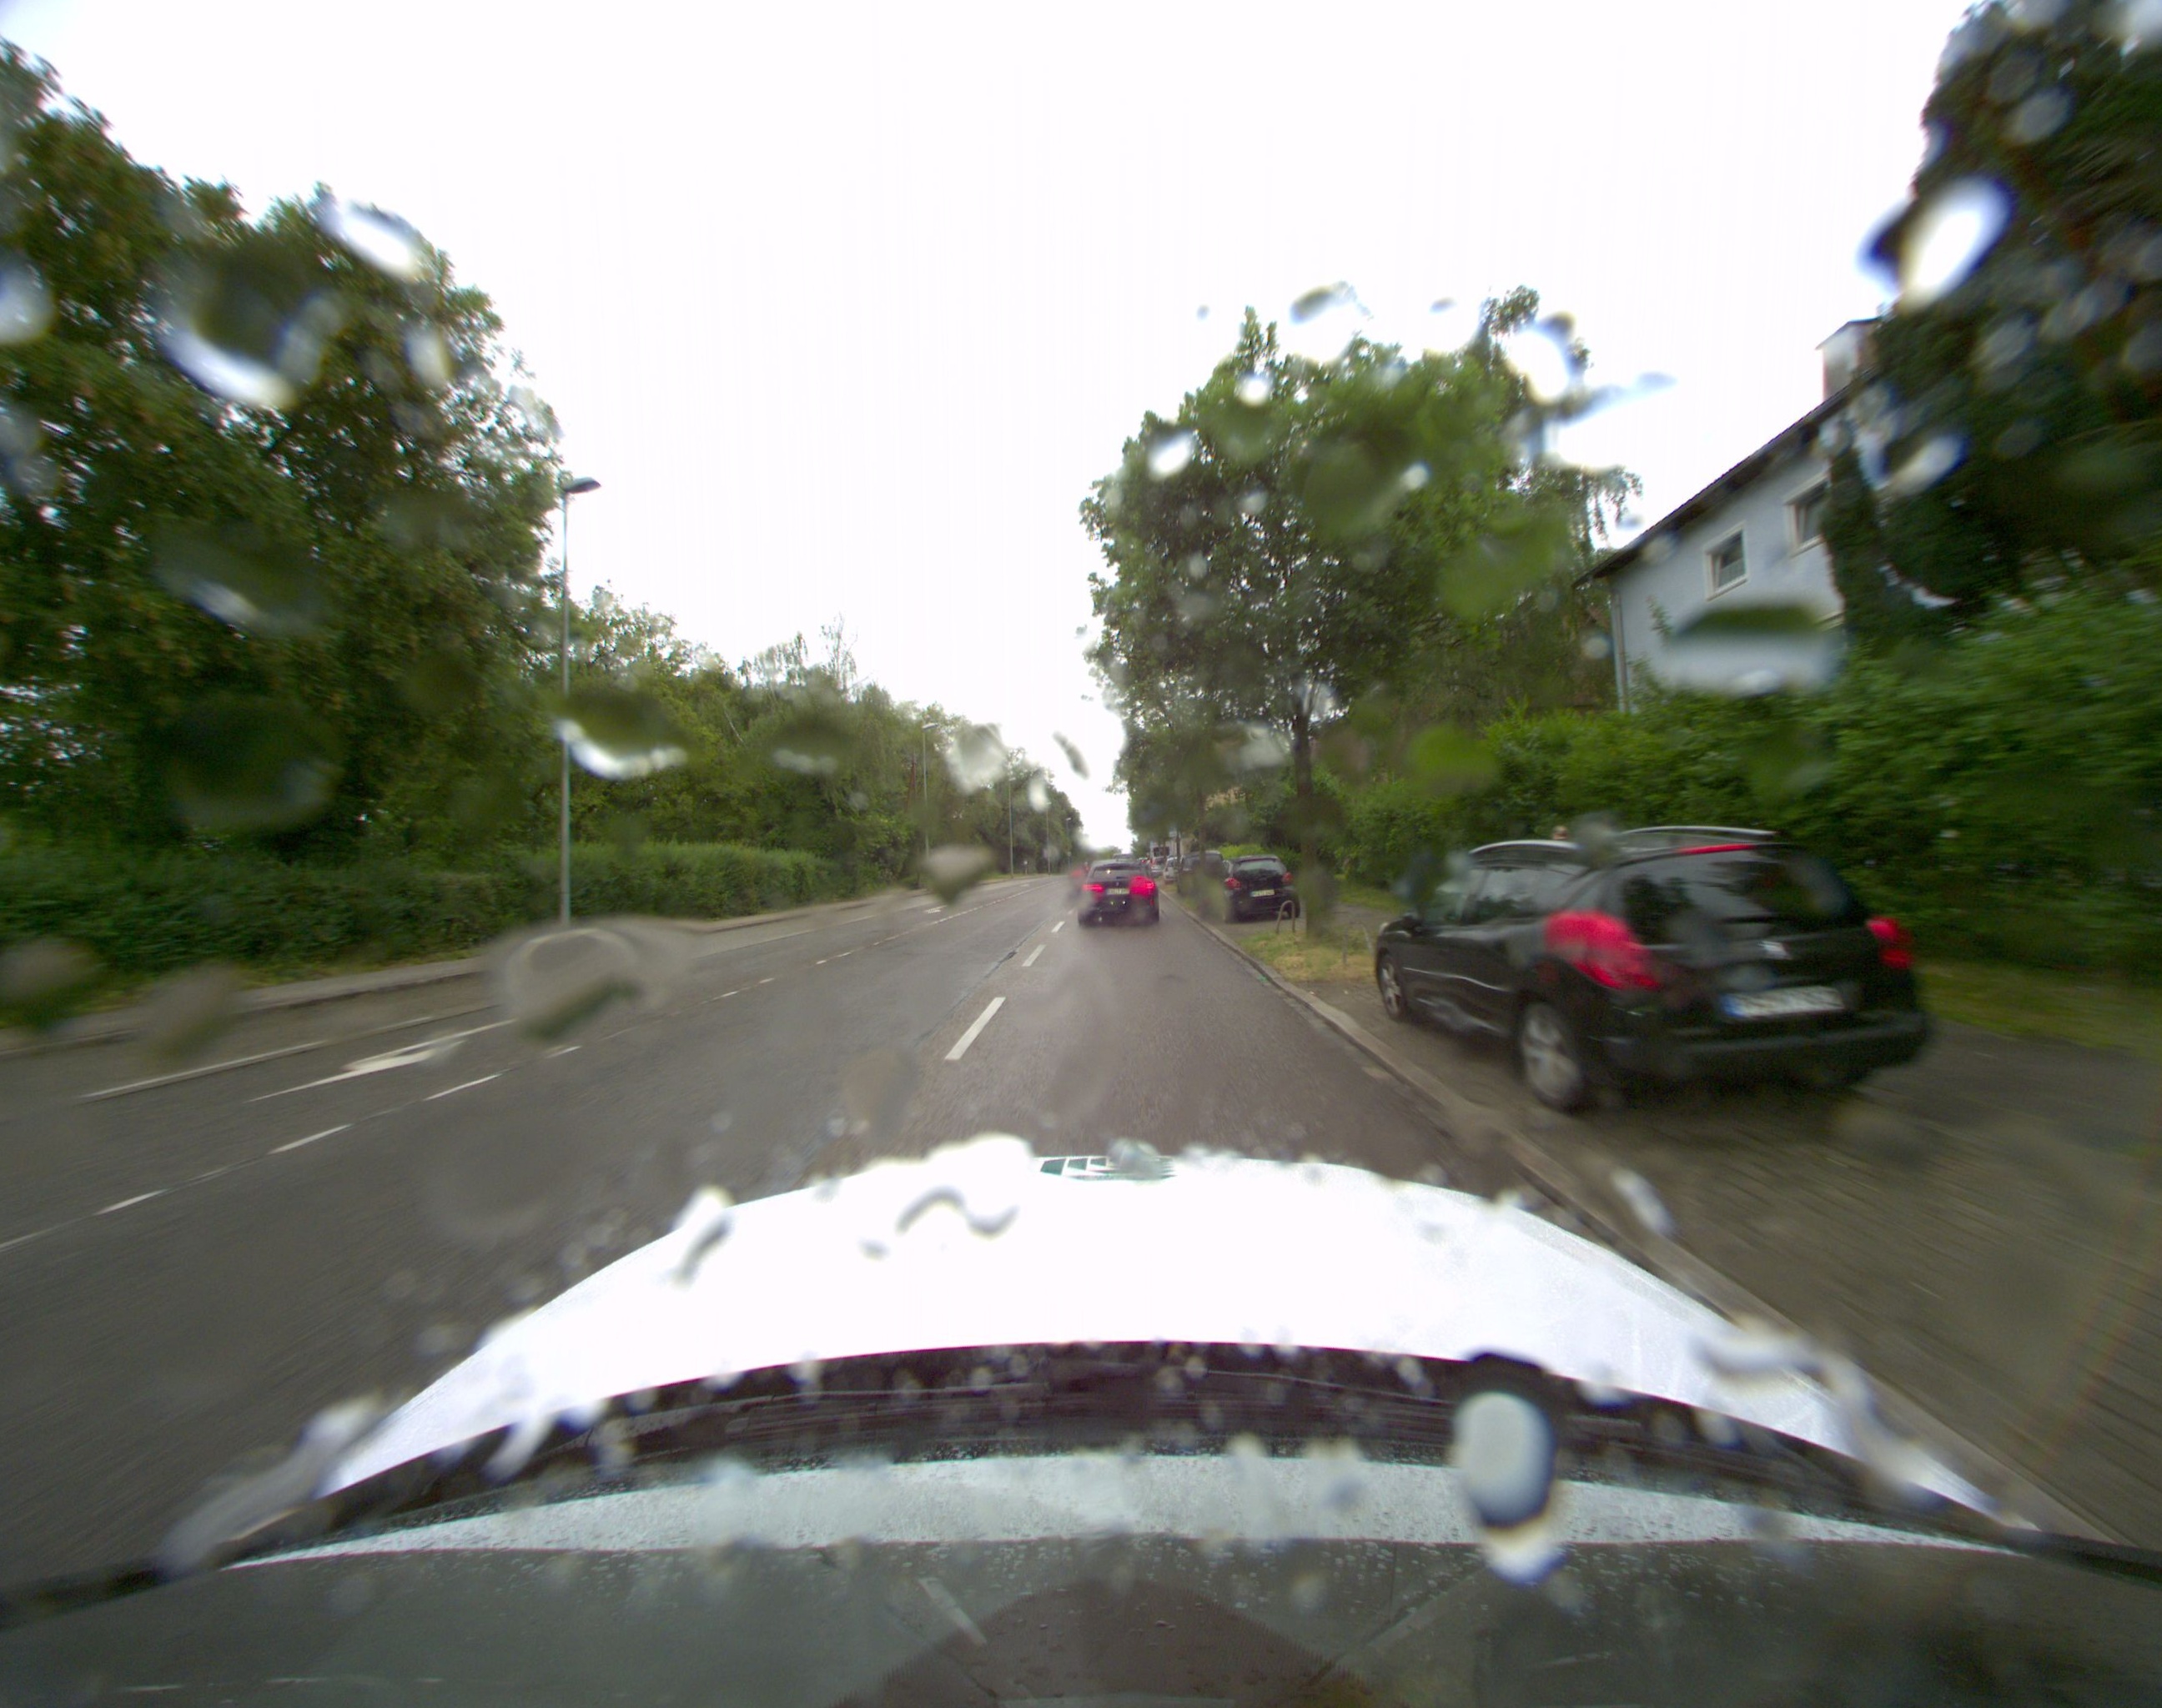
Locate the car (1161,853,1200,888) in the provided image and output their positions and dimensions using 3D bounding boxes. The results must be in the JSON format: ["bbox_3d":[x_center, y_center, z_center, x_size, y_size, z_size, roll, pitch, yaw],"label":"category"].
[{"bbox_3d":[5.234,0.821,42.976,1.814,1.603,4.482,-5,-1,7],"label":"car"}]

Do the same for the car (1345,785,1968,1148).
[{"bbox_3d":[3.414,0.550,5.926,1.636,1.595,4.014,-5,0,1],"label":"car"}]

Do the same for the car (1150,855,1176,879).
[{"bbox_3d":[5.847,0.906,58.041,1.660,1.528,3.838,-6,-1,6],"label":"car"}]

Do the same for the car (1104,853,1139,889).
[{"bbox_3d":[2.513,1.058,50.014,1.984,2.014,4.004,-2,-2,4],"label":"car"}]

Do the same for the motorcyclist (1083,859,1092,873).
[{"bbox_3d":[0.777,1.452,97.865,0.817,1.681,0.644,-1,-1,-35],"label":"motorcyclist"}]

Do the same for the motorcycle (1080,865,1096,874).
[{"bbox_3d":[0.835,1.854,97.797,0.827,1.118,2.165,-1,-1,-36],"label":"motorcycle"}]

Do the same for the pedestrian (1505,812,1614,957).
[{"bbox_3d":[5.951,0.370,10.178,0.714,1.680,0.894,-4,-1,-1],"label":"pedestrian"}]

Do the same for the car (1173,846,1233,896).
[{"bbox_3d":[4.686,0.652,31.913,1.816,1.678,4.588,-4,-1,3],"label":"car"}]

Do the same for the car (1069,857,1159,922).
[{"bbox_3d":[0.812,0.832,20.062,1.986,1.453,4.002,0,-1,2],"label":"car"}]

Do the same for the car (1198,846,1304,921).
[{"bbox_3d":[3.952,0.653,19.486,1.716,1.512,3.786,-4,0,1],"label":"car"}]

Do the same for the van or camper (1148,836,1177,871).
[{"bbox_3d":[6.926,-0.003,69.789,2.188,2.651,7.310,-4,-1,4],"label":"van or camper"}]
